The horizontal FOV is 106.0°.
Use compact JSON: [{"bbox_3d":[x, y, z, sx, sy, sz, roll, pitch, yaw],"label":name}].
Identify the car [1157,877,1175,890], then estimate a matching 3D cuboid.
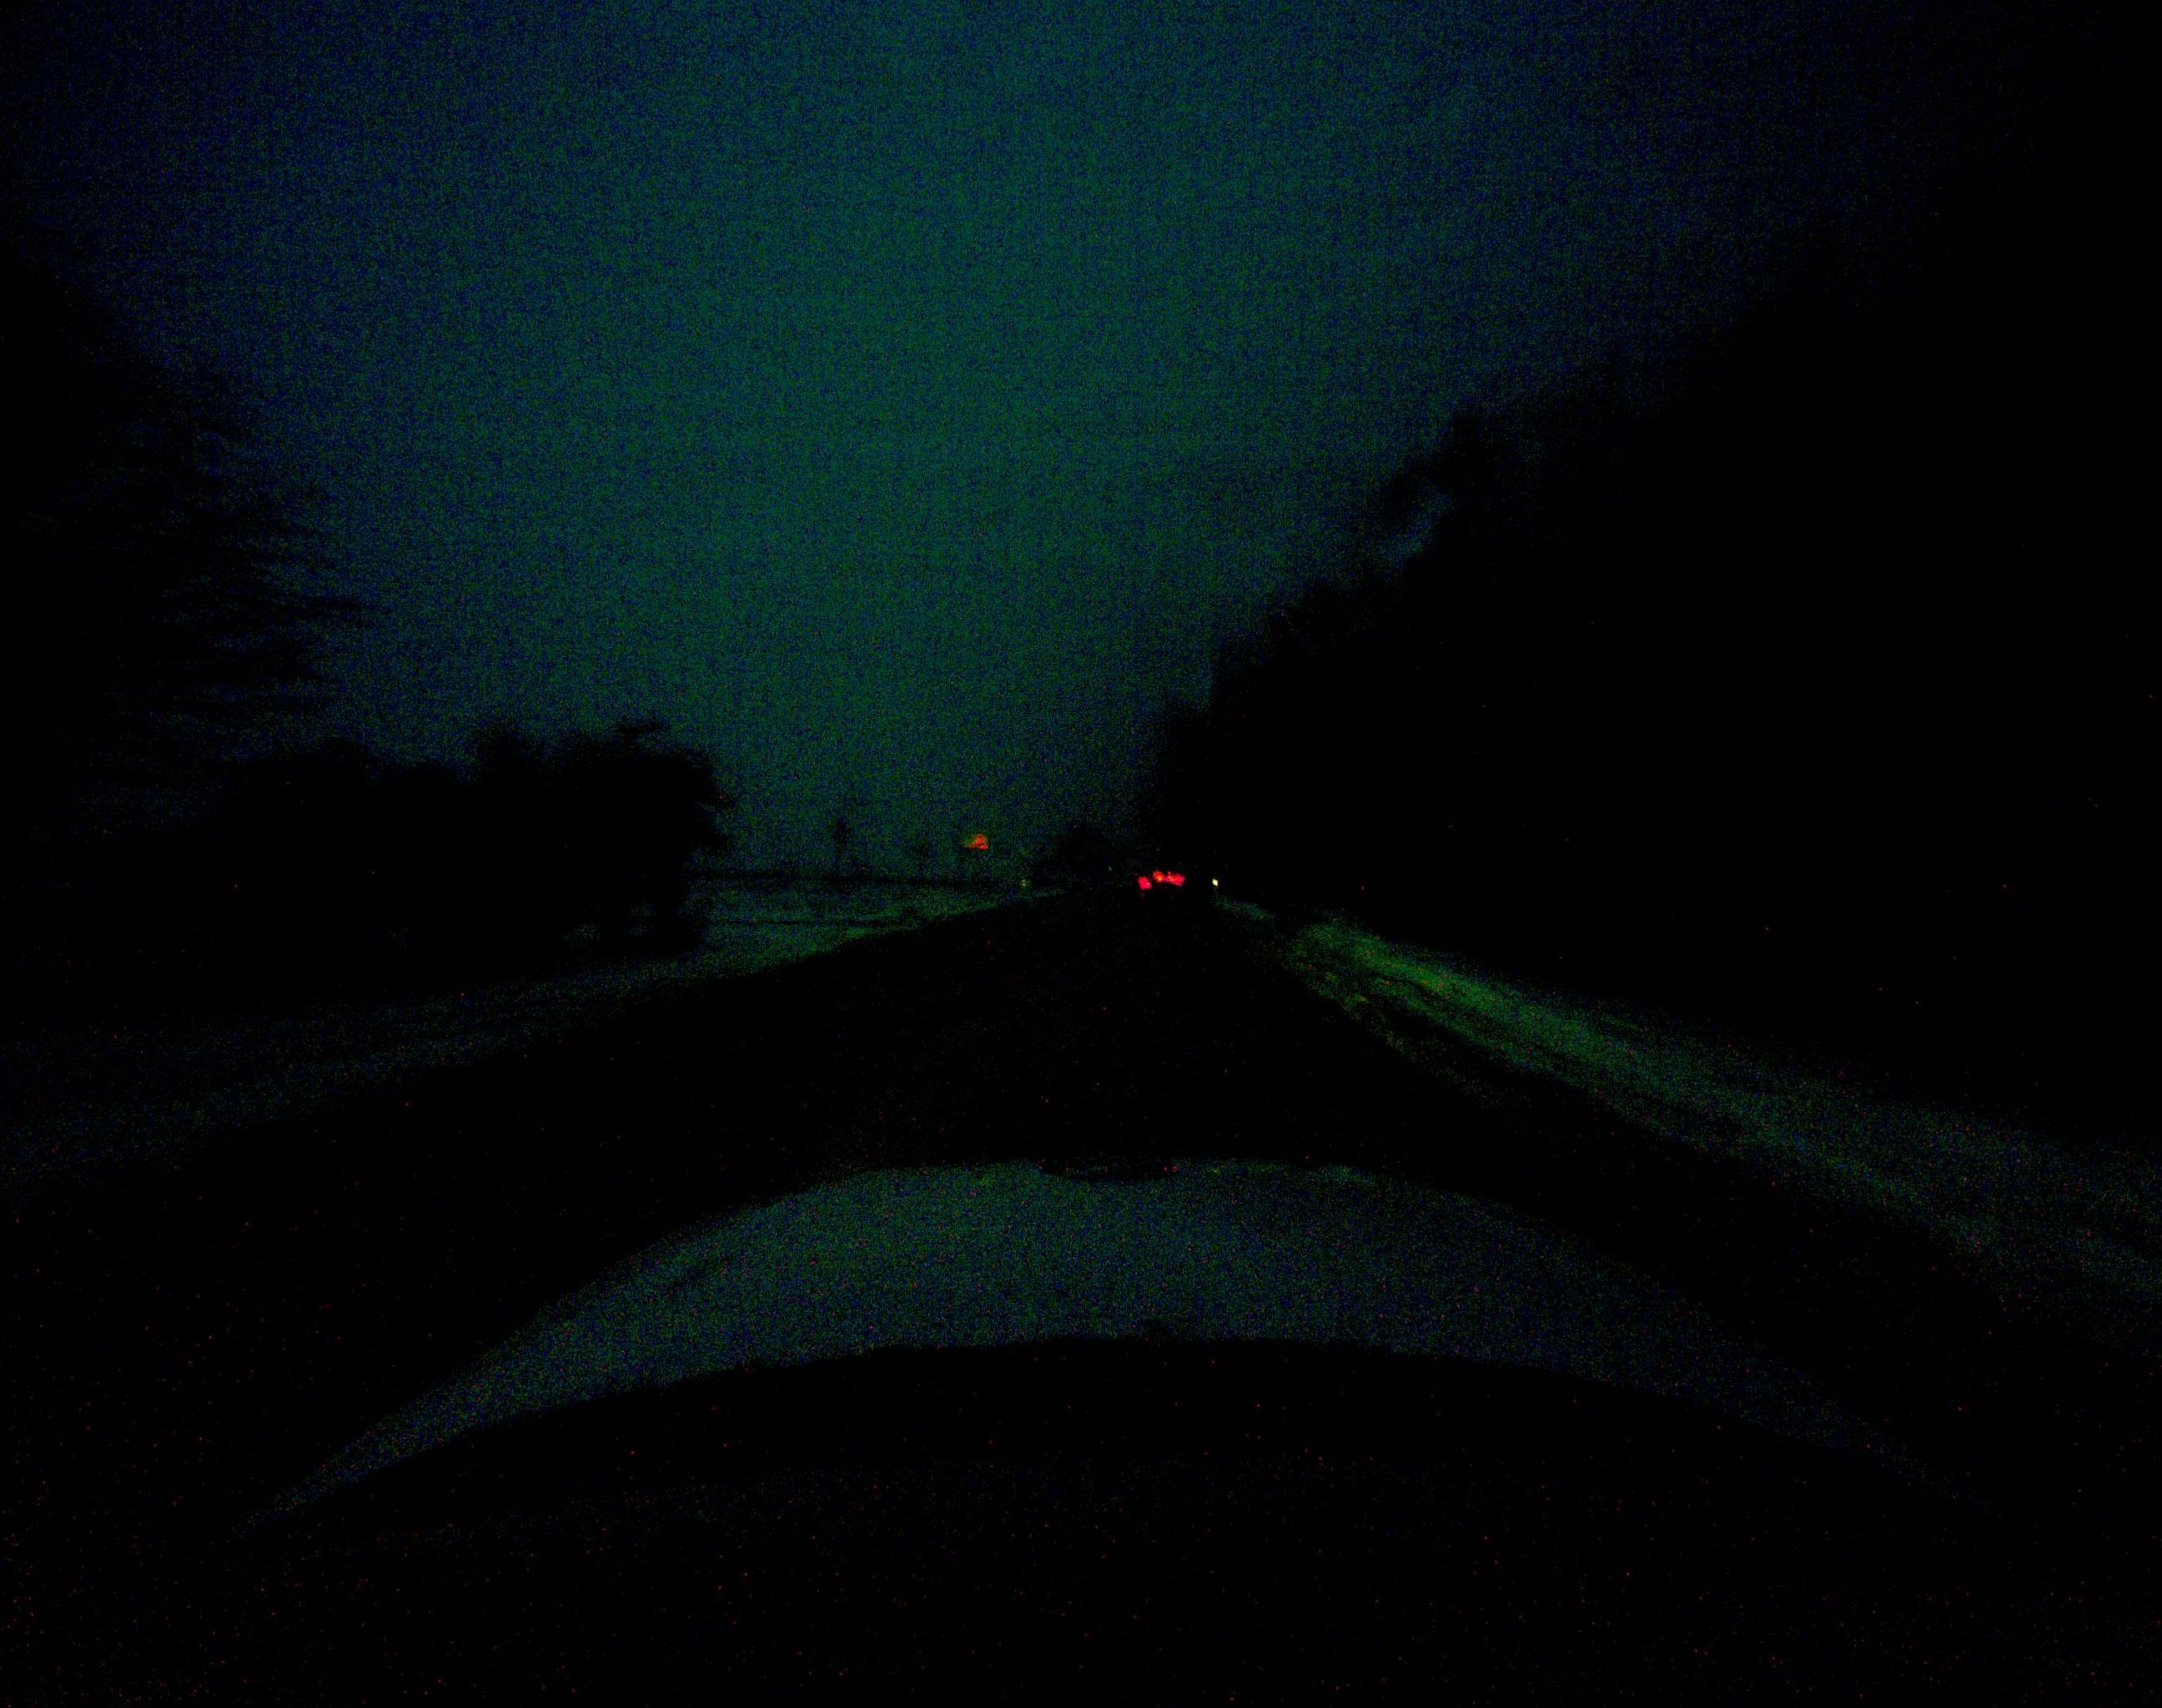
[{"bbox_3d":[10.097,3.514,97.164,1.984,1.420,4.005,-1,-2,5],"label":"car"}]
